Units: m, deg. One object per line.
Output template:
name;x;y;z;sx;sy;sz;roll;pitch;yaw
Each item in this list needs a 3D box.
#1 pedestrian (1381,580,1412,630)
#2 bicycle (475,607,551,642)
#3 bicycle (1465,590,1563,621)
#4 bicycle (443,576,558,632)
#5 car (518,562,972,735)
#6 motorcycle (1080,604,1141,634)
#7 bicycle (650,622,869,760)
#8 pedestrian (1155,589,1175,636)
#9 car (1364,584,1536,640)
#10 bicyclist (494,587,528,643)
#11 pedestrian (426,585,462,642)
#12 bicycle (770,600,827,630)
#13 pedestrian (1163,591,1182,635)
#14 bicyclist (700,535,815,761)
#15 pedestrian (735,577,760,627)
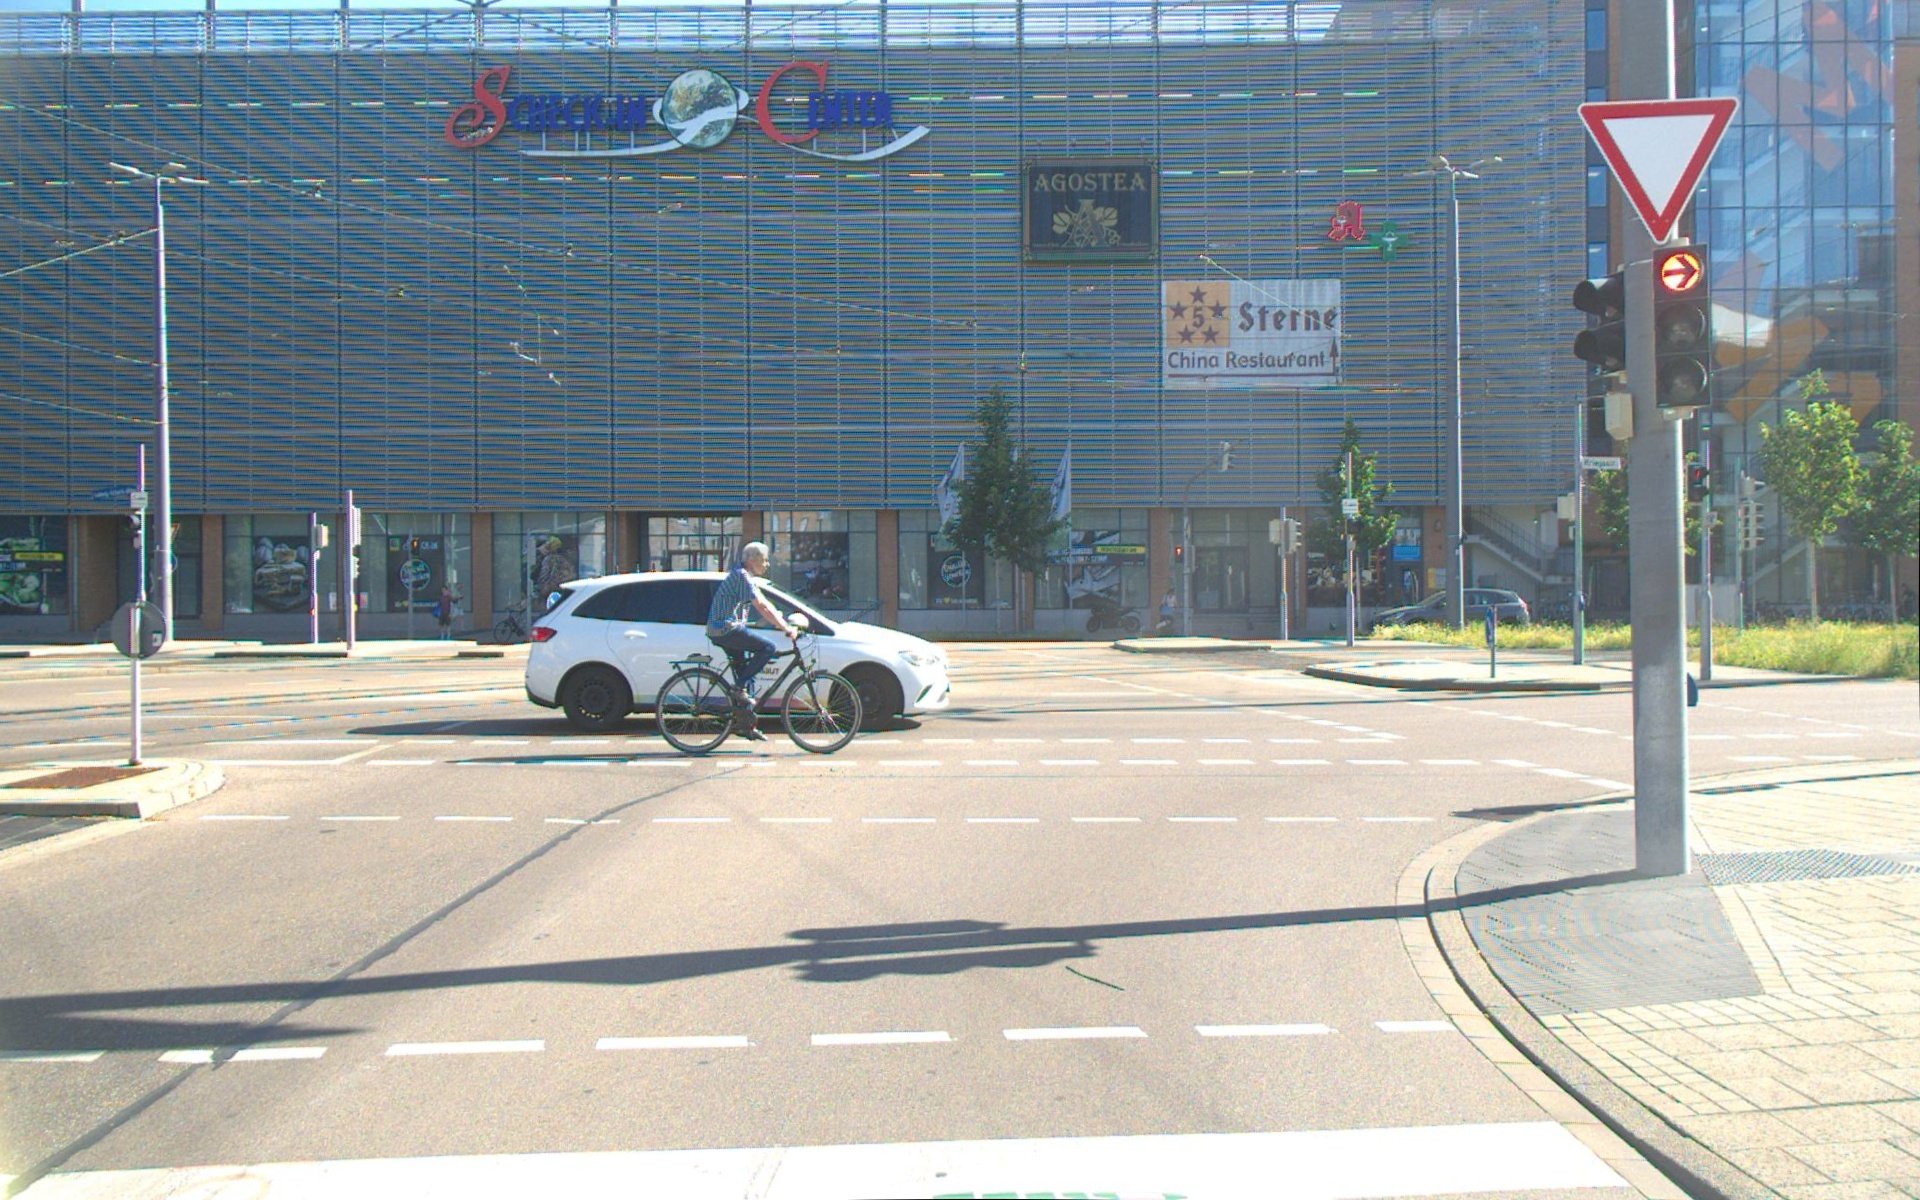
pedestrian;15.422;0.171;58.421;0.837;1.768;0.752;-1;0;-7
bicycle;-14.848;0.802;55.011;2.225;1.089;1.030;-1;0;-42
bicycle;20.782;0.201;62.118;3.289;1.096;1.117;1;1;5
bicycle;-17.157;0.137;61.869;3.905;2.049;1.330;0;0;-1
car;-2.153;0.445;17.097;4.401;1.663;1.837;0;1;-6
motorcycle;5.602;0.708;61.491;2.157;1.061;1.061;0;1;-1
bicycle;-1.711;0.769;14.352;1.791;1.135;0.853;0;0;-1
pedestrian;6.868;0.400;55.418;0.577;1.561;0.658;0;0;-1
car;13.730;0.339;46.487;4.395;1.521;1.494;0;0;-1
bicyclist;-14.940;0.493;55.013;0.838;1.834;0.803;0;0;-42
pedestrian;-17.269;0.442;55.356;0.890;1.901;0.816;0;0;42
bicycle;-5.947;0.564;61.065;1.985;1.078;1.145;0;0;-1
pedestrian;7.230;0.424;56.299;0.577;1.488;0.658;0;0;-1
bicyclist;-1.745;0.403;14.364;0.883;1.892;0.854;0;0;-1
pedestrian;-7.743;0.064;60.325;0.831;1.794;0.620;0;0;-2
